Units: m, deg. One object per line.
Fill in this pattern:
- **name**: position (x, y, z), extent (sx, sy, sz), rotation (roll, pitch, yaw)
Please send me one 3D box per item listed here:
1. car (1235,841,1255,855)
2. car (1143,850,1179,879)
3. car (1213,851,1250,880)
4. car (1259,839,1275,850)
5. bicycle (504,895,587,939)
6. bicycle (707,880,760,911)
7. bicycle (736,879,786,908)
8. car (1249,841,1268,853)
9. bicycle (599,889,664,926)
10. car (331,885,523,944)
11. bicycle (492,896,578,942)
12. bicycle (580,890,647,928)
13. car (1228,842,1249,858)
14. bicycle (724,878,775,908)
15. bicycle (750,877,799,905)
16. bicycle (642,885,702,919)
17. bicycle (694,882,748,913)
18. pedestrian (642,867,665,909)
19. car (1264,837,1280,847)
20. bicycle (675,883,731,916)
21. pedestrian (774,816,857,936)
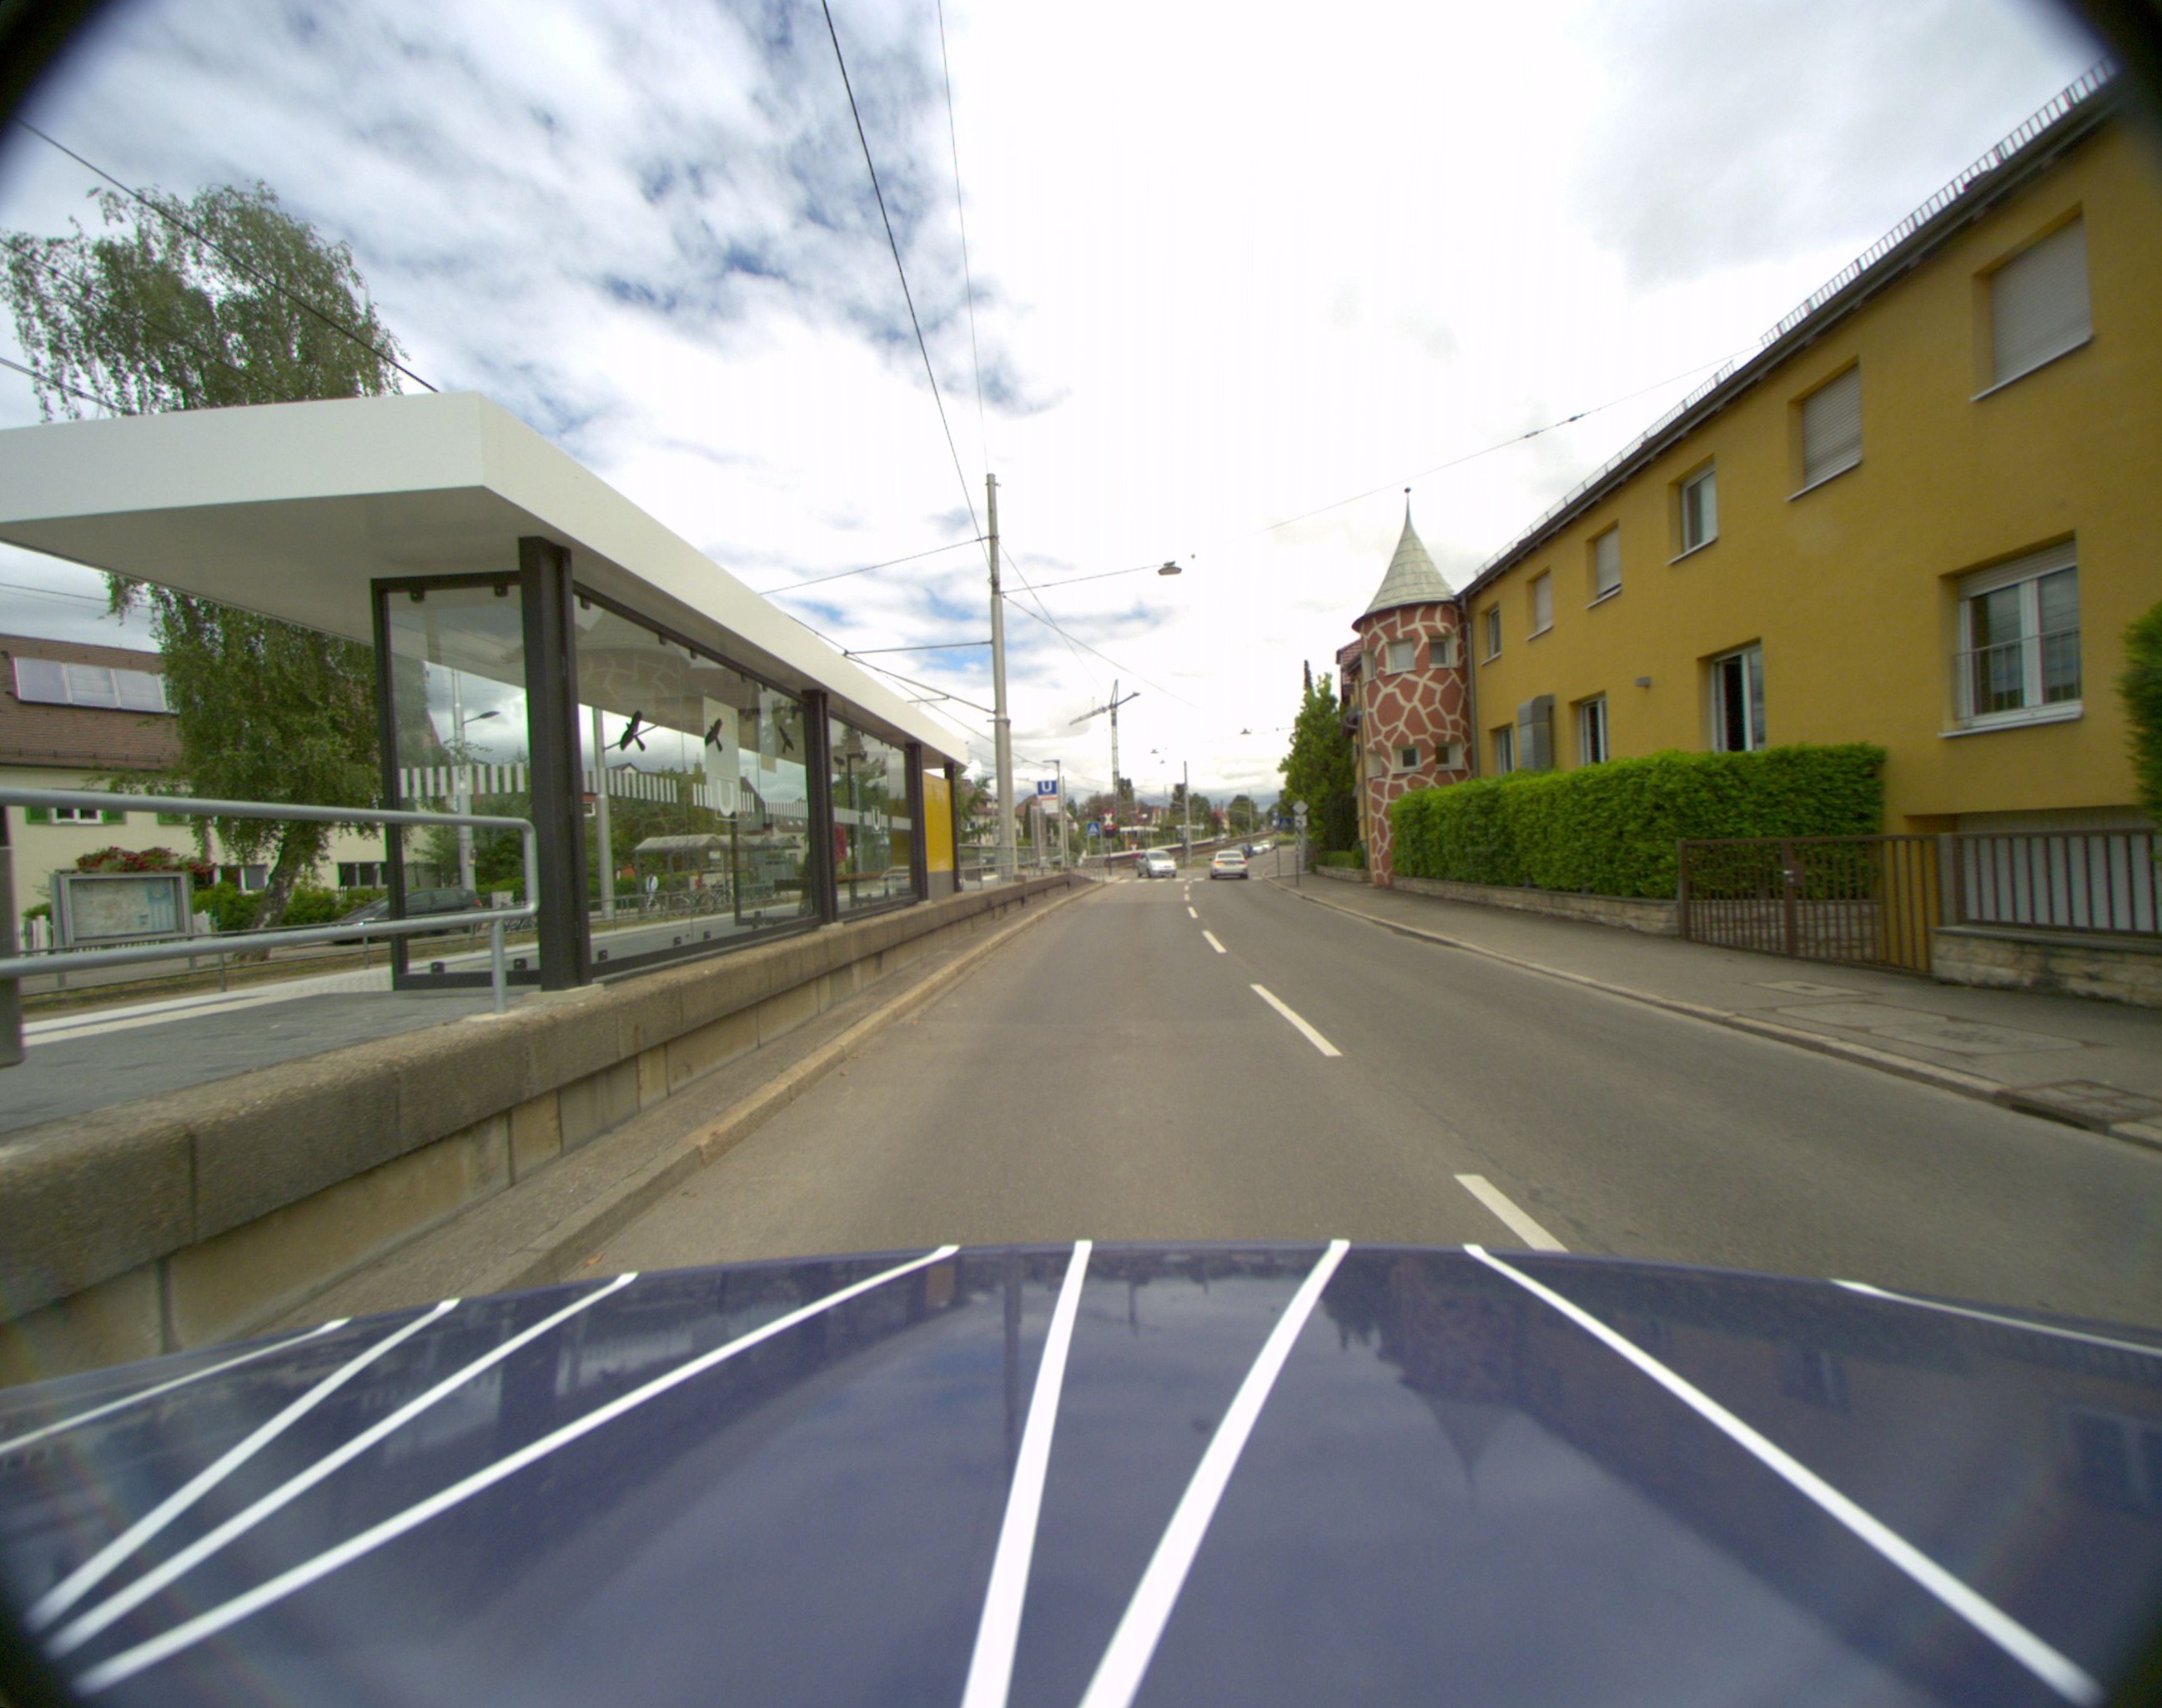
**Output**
- **car**: position (18.742, -0.684, 86.498), extent (1.819, 1.493, 4.124), rotation (-3, 0, 17)
- **car**: position (4.706, 0.591, 45.217), extent (1.726, 1.559, 3.927), rotation (-3, 0, 1)
- **car**: position (7.965, 0.548, 40.017), extent (1.821, 1.411, 4.467), rotation (0, 1, 12)
- **car**: position (26.161, -1.381, 106.811), extent (1.851, 1.368, 4.005), rotation (-3, 0, 19)
- **bicycle**: position (-14.370, 1.680, 20.407), extent (1.769, 1.036, 0.557), rotation (-3, 1, 2)
- **bicycle**: position (-13.074, 1.564, 28.577), extent (1.768, 1.036, 0.557), rotation (-3, 1, 12)
- **bicycle**: position (-12.684, 1.554, 30.108), extent (1.768, 1.036, 0.557), rotation (-3, 1, 12)
- **car**: position (22.444, -0.858, 96.206), extent (1.851, 1.368, 4.005), rotation (-3, 0, 19)
- **bicycle**: position (-13.986, 1.649, 23.625), extent (1.768, 1.036, 0.557), rotation (-3, 1, 12)
- **car**: position (-21.332, 1.935, 25.044), extent (1.818, 1.477, 4.427), rotation (-3, 0, 17)
- **bicycle**: position (-14.076, 1.664, 19.618), extent (1.769, 1.036, 0.557), rotation (-3, 1, 1)
- **bicycle**: position (-14.138, 1.651, 22.969), extent (1.768, 1.036, 0.557), rotation (-3, 1, 12)
- **car**: position (16.744, -0.464, 80.665), extent (1.819, 1.493, 4.124), rotation (-3, 0, 17)
- **bicycle**: position (-12.832, 1.514, 29.402), extent (1.768, 1.036, 0.557), rotation (-3, 1, 12)
- **bicycle**: position (-12.505, 1.514, 30.993), extent (1.768, 1.036, 0.557), rotation (-3, 1, 12)
- **bicycle**: position (-13.684, 1.598, 25.436), extent (1.768, 1.036, 0.557), rotation (-3, 1, 12)
- **bicycle**: position (-13.214, 1.602, 27.879), extent (1.768, 1.036, 0.557), rotation (-3, 1, 12)
- **pedestrian**: position (-20.283, 1.599, 36.060), extent (0.626, 1.903, 0.830), rotation (-2, 0, -12)
- **car**: position (29.642, -1.922, 117.840), extent (1.851, 1.368, 4.005), rotation (-3, 0, 19)
- **bicycle**: position (-13.431, 1.615, 27.004), extent (1.768, 1.036, 0.557), rotation (-3, 1, 12)
- **pedestrian**: position (-3.023, 0.242, 8.699), extent (0.622, 1.291, 0.719), rotation (-3, 1, 0)
